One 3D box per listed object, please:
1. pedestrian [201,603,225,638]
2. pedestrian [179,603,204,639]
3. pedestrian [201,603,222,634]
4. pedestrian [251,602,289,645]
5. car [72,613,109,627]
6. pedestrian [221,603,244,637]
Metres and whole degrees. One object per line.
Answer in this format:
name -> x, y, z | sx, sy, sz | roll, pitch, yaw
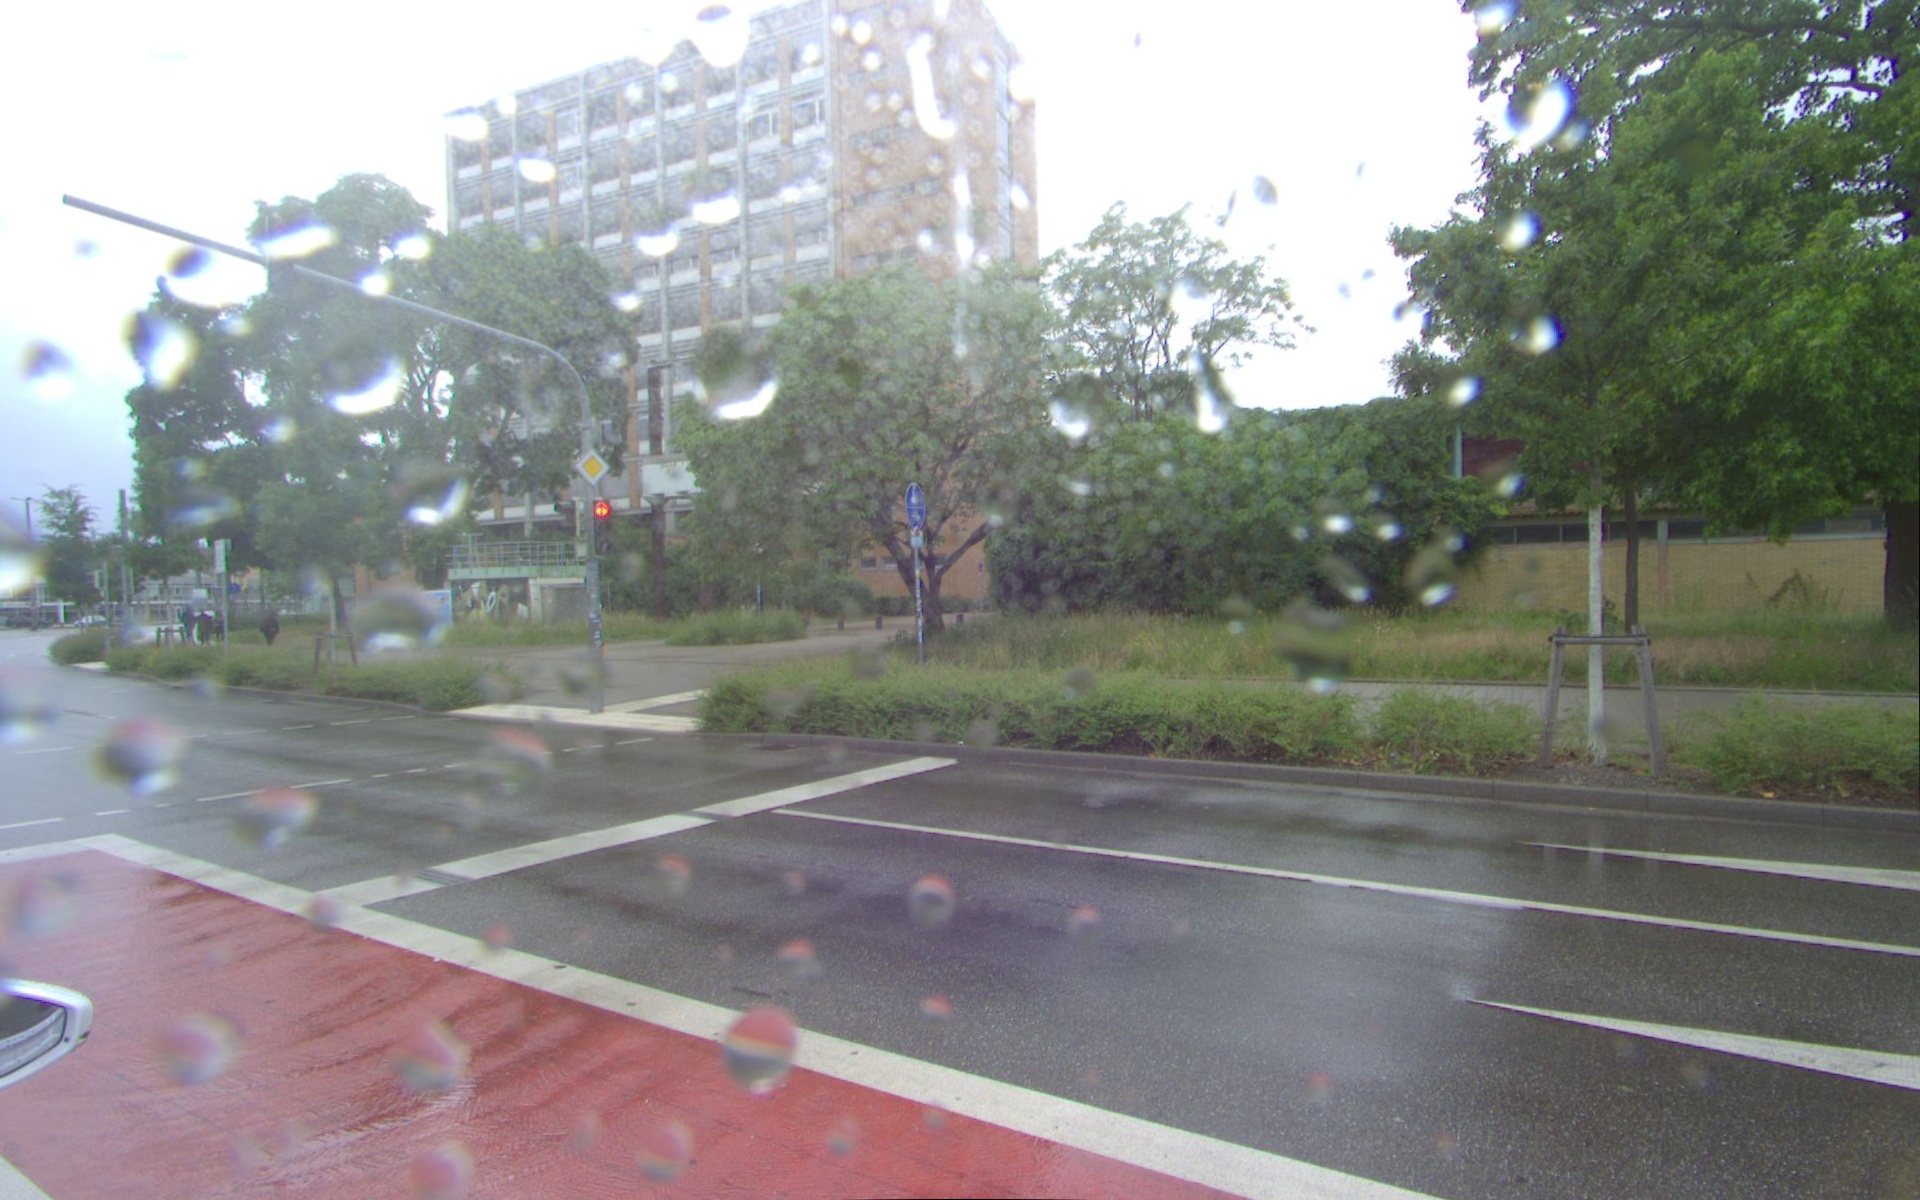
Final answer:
pedestrian -> -35.217, 0.959, 47.202 | 0.926, 1.609, 0.699 | 0, 1, 43
pedestrian -> -35.947, 0.976, 46.866 | 0.926, 1.609, 0.749 | 0, 1, 42
pedestrian -> -38.959, 0.950, 52.115 | 0.926, 1.609, 0.699 | 0, 1, 42
pedestrian -> -26.555, 0.911, 38.541 | 0.926, 1.609, 1.017 | 0, 1, 42
car -> -110.896, 2.584, 127.762 | 1.763, 1.665, 4.153 | -1, 0, -13
pedestrian -> -34.726, 0.945, 47.788 | 0.926, 1.609, 0.699 | 0, 1, 43
